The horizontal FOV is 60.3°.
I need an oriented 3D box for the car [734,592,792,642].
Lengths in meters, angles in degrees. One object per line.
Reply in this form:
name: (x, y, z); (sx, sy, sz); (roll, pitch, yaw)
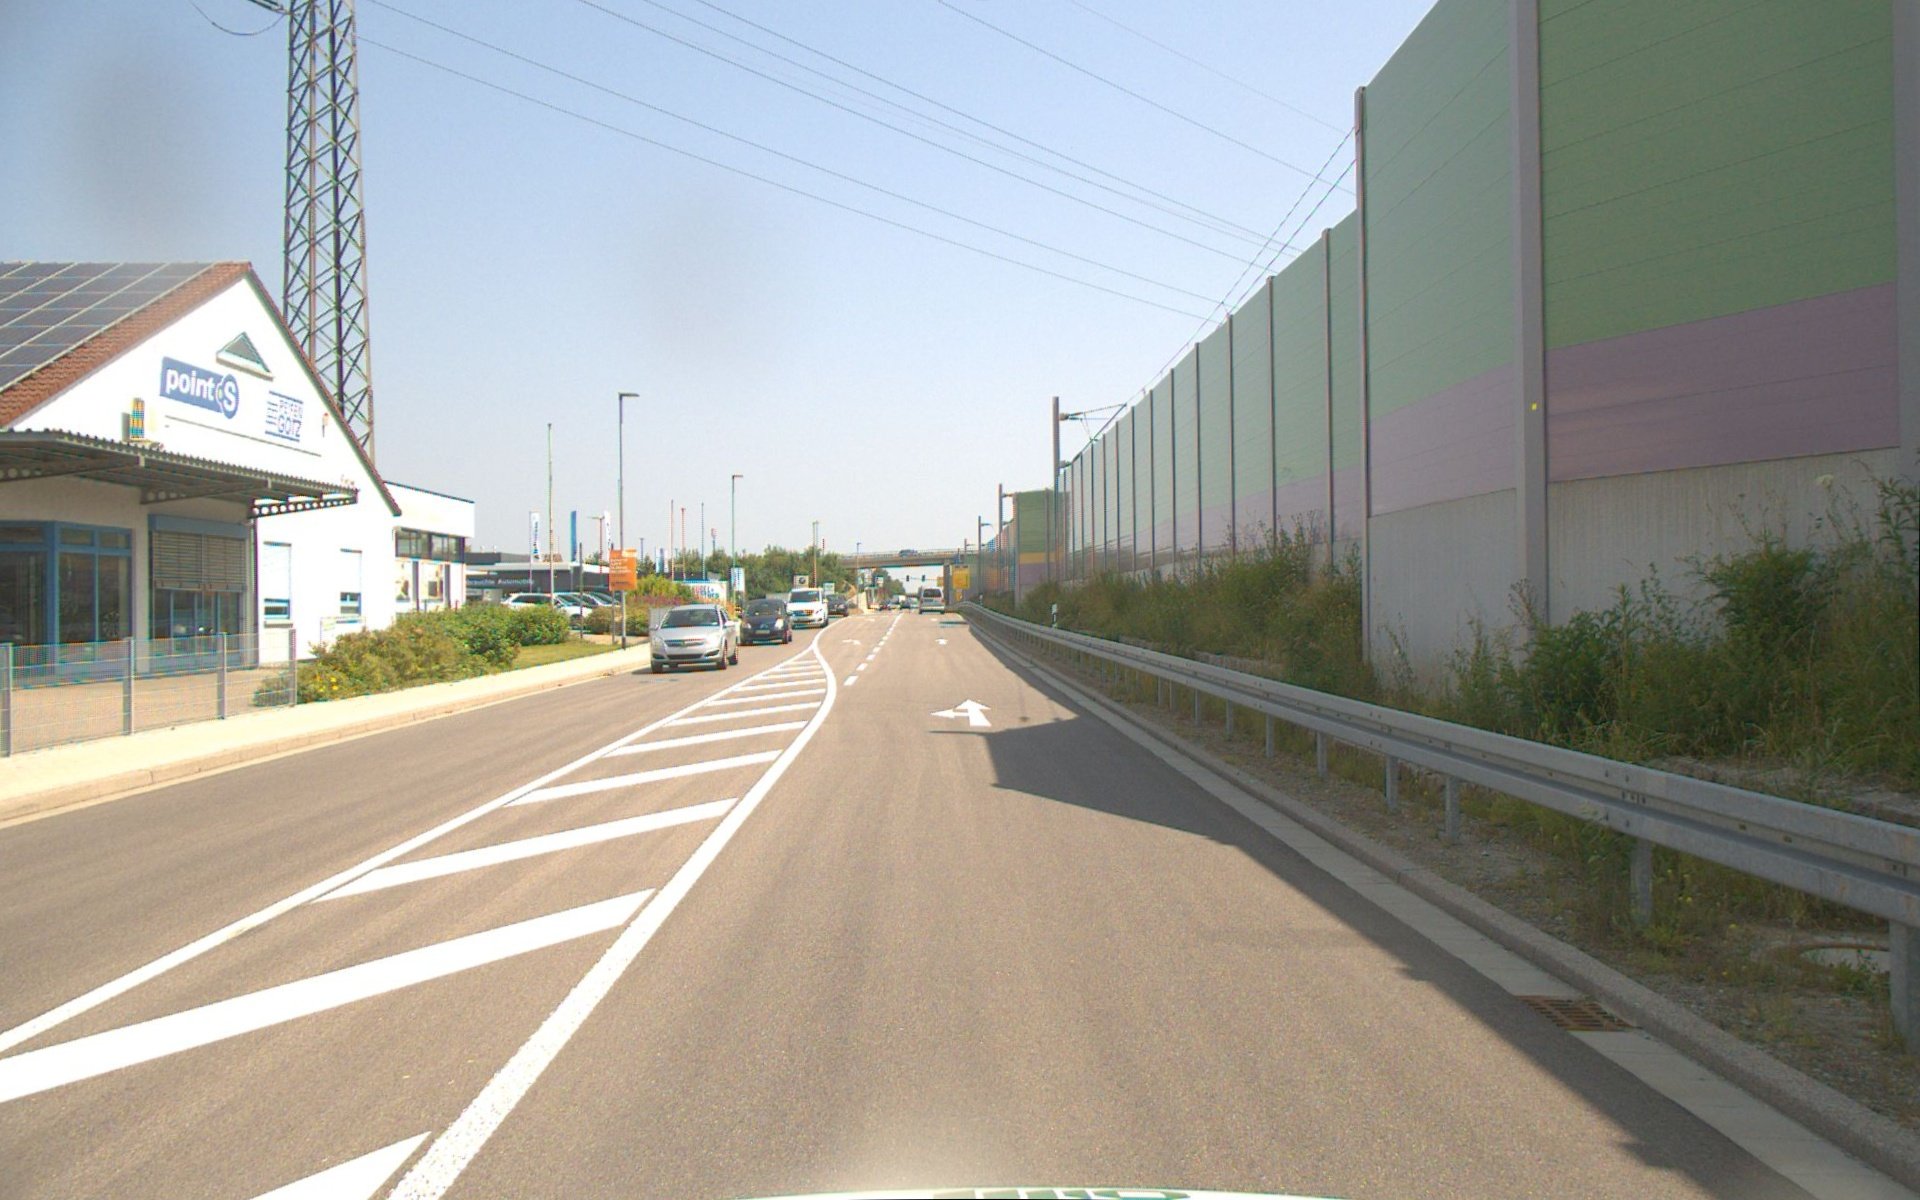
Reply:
car: (-6.965, 0.587, 58.896); (1.635, 1.628, 3.971); (-3, 0, -2)

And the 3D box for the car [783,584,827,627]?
car: (-7.445, 0.266, 80.001); (1.954, 1.907, 5.165); (-2, 0, -4)

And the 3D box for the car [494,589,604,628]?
car: (-17.164, 0.367, 69.222); (4.140, 1.481, 1.763); (2, 0, -3)

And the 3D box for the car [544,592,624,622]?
car: (-17.744, 0.314, 78.158); (3.439, 1.276, 1.504); (2, 0, -3)

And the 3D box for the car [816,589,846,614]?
car: (-7.960, 0.100, 102.535); (1.637, 1.448, 3.999); (-2, 0, -2)

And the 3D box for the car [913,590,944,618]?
car: (-2.119, 0.274, 111.782); (1.953, 1.788, 4.000); (-1, 0, 0)

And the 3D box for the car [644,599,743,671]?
car: (-6.156, 0.759, 38.571); (1.729, 1.491, 4.257); (-3, 0, -2)
